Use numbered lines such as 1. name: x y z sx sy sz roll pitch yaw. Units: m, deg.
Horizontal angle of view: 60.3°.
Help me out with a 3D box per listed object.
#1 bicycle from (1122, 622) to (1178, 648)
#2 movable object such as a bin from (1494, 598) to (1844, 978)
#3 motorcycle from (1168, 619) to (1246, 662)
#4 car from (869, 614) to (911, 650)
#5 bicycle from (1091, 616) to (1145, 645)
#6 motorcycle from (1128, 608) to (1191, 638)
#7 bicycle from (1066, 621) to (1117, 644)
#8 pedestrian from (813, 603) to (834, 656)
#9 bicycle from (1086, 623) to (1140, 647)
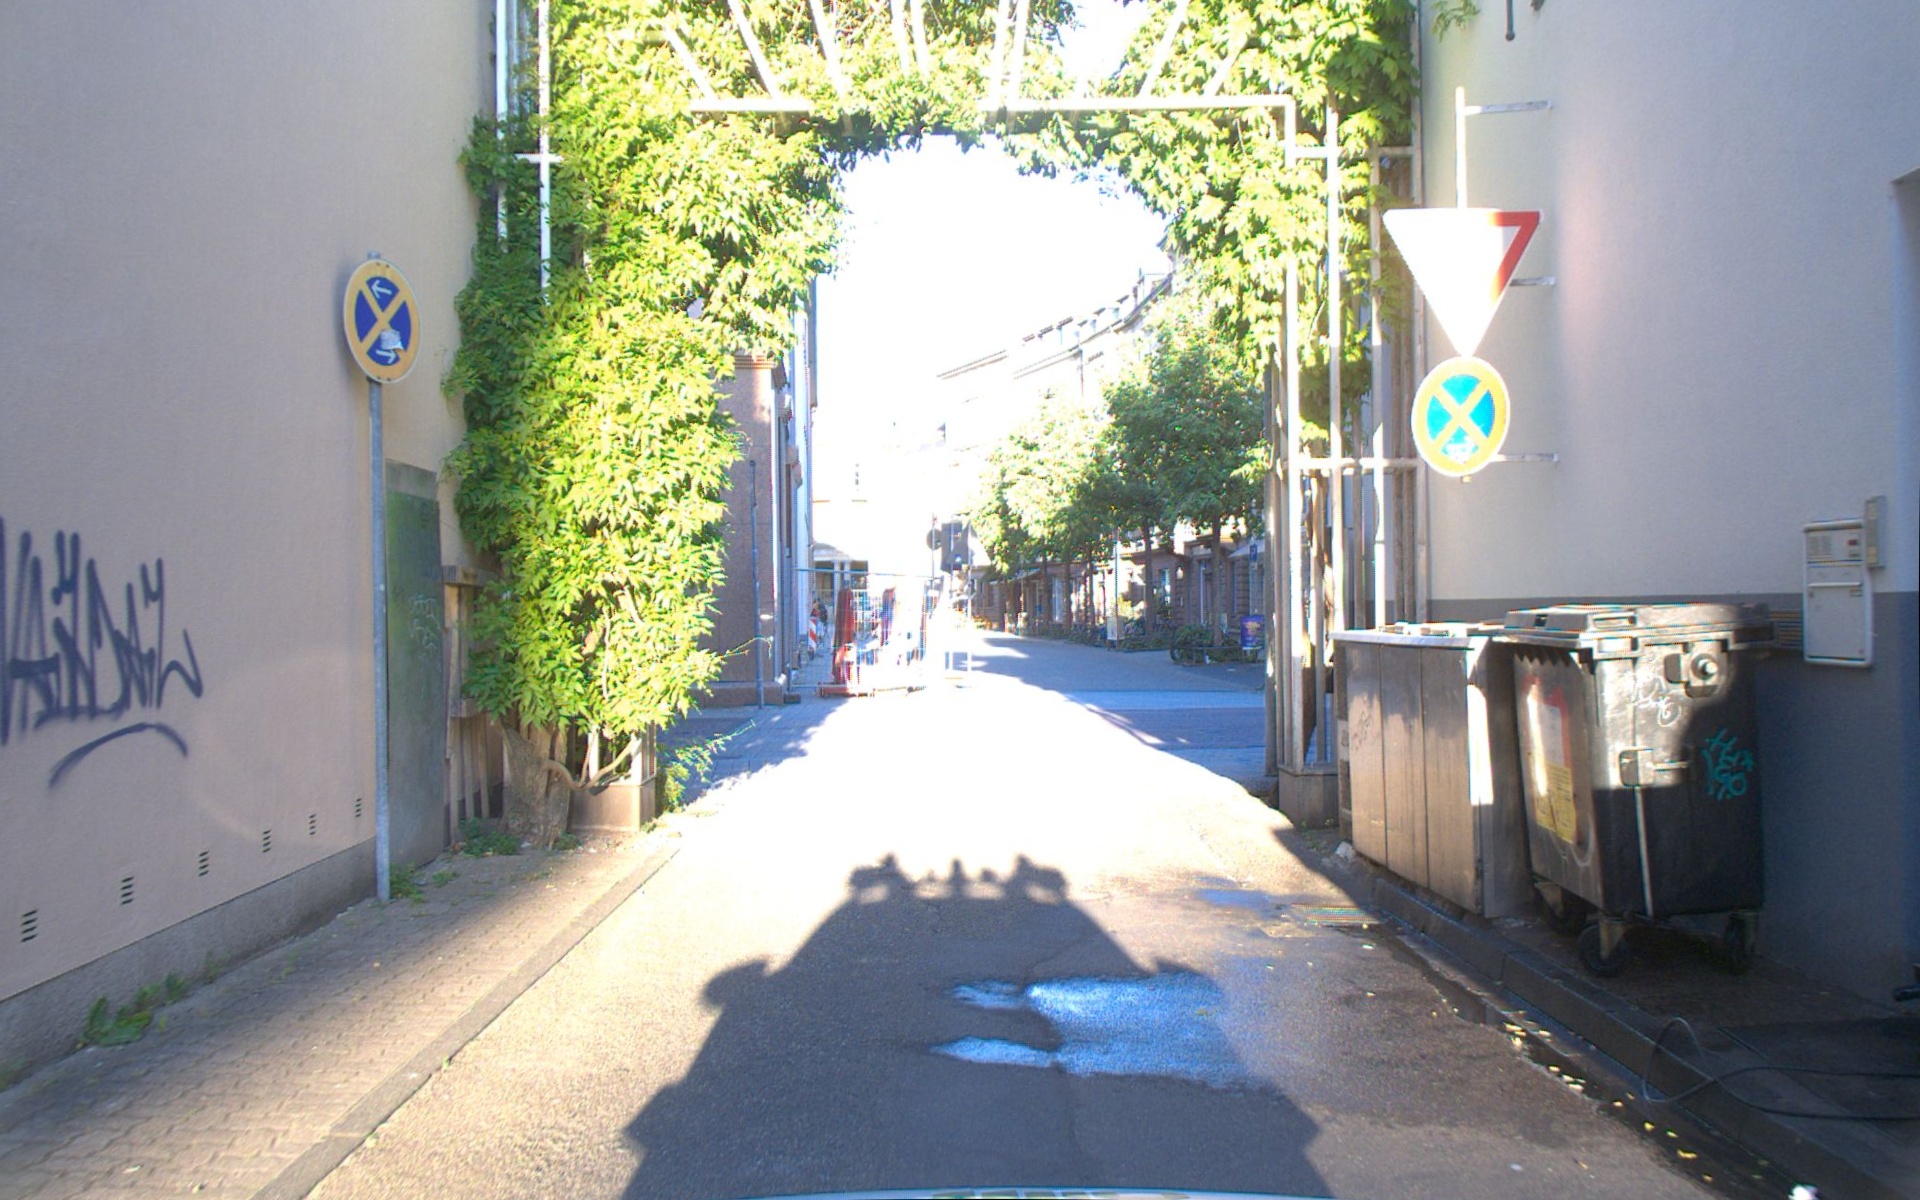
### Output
1. bicycle: 7.406 1.354 64.454 2.119 0.942 0.588 -1 -2 -18
2. movable object such as a bin: 2.761 0.678 6.604 0.818 1.327 1.290 -3 0 2
3. motorcycle: 6.976 1.146 46.809 2.111 1.171 0.493 -1 -2 -5
4. car: -3.509 1.596 82.284 1.807 1.713 3.639 -1 -1 -7
5. bicycle: 6.347 1.229 66.507 2.107 1.080 0.591 -2 -2 12
6. motorcycle: 7.662 0.886 63.360 2.439 1.114 0.586 -1 -2 -25
7. bicycle: 5.631 1.407 70.836 2.113 0.942 0.589 -1 -1 -10
8. pedestrian: -4.704 1.021 57.037 0.641 1.795 0.634 -1 -1 2
9. bicycle: 6.358 1.451 68.681 2.113 0.942 0.589 -1 -1 -10
